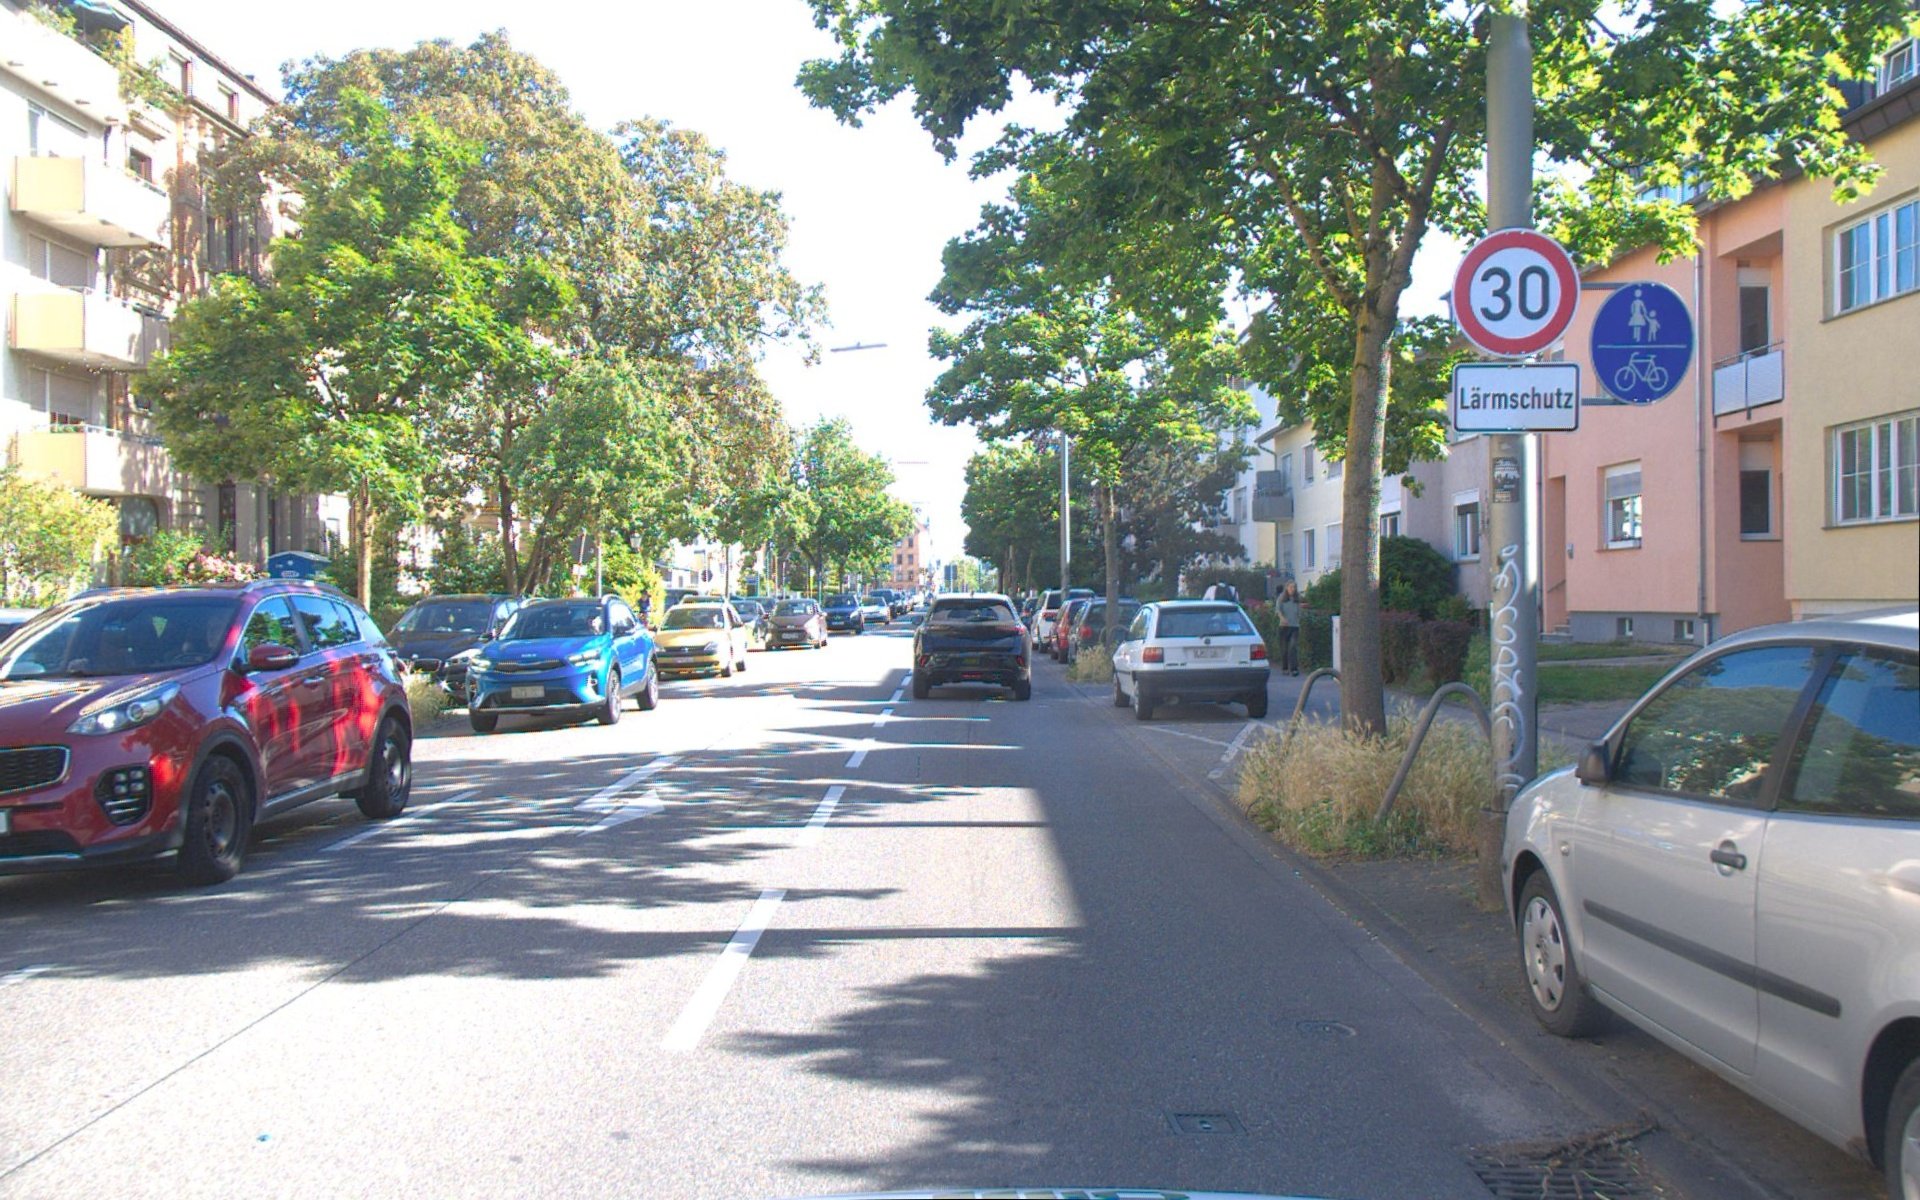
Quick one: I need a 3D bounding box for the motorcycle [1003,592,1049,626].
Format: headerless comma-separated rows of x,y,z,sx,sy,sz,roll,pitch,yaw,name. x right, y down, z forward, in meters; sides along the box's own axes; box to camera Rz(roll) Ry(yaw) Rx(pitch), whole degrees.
2.570,0.348,65.077,0.689,1.294,2.410,-2,0,-27,motorcycle

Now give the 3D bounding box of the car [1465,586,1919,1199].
2.811,0.710,4.724,1.535,1.482,3.865,-2,0,0,car

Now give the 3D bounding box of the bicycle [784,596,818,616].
-10.136,0.390,105.652,2.163,1.213,0.444,-1,0,-31,bicycle

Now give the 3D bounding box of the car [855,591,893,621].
-4.504,0.316,87.095,1.698,1.437,4.192,-3,0,0,car

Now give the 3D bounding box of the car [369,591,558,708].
-7.547,0.699,25.564,1.636,1.633,4.393,0,0,-1,car

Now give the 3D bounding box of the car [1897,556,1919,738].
9.650,0.256,12.617,3.906,1.466,1.831,-4,0,0,car

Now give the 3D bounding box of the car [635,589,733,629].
-11.827,0.387,70.963,3.857,1.673,1.667,0,1,-25,car

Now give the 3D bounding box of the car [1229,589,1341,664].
6.662,0.518,34.188,1.500,1.379,3.717,-3,0,0,car

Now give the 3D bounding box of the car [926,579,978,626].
-0.259,0.068,58.641,1.792,1.606,3.839,-1,0,0,car

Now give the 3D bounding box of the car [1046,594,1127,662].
2.879,0.602,38.210,1.501,1.475,3.717,-1,0,-1,car

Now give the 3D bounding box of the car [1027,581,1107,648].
2.861,0.376,44.857,1.733,1.688,4.340,-1,0,-2,car

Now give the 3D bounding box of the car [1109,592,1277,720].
2.895,0.645,21.261,1.615,1.427,3.970,-2,0,1,car

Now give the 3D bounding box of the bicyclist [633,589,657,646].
-9.867,0.538,51.825,0.596,1.785,0.691,-1,0,0,bicyclist

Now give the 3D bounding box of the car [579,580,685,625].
-14.409,0.101,72.662,4.261,1.912,1.864,0,1,-26,car

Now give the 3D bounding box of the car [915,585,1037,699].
0.223,0.598,25.333,1.710,1.601,3.557,1,0,0,car

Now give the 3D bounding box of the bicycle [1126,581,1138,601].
11.608,-0.624,111.931,0.579,1.310,1.689,-3,0,0,bicycle

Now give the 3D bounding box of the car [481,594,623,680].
-7.550,0.649,30.926,1.568,1.503,3.932,0,0,2,car

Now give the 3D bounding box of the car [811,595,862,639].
-5.083,0.675,68.621,1.799,1.642,4.400,-3,0,-1,car

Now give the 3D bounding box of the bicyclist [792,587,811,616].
-10.127,0.096,105.671,1.040,1.856,0.654,-1,0,-30,bicyclist

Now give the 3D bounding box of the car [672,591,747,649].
-7.404,0.571,49.263,1.591,1.616,4.347,1,0,-1,car

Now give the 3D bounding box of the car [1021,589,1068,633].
3.050,0.368,60.363,1.586,1.525,3.649,-1,0,1,car

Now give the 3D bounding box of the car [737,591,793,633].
-7.513,0.435,64.045,1.643,1.582,4.008,0,0,1,car

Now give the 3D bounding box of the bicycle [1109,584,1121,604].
10.535,-0.434,112.398,0.610,1.310,1.842,-3,0,0,bicycle

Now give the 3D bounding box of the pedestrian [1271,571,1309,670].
5.783,0.362,28.997,0.527,1.706,0.493,-1,0,0,pedestrian

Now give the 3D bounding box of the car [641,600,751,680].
-5.194,0.754,32.922,1.601,1.428,3.735,-2,0,-1,car

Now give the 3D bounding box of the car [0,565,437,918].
-4.760,0.683,10.012,1.686,1.645,4.300,-3,0,1,car

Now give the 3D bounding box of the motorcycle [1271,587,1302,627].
12.000,0.249,60.909,0.623,1.400,2.425,-1,0,0,motorcycle

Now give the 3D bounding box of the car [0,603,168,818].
-7.533,0.797,12.384,1.372,1.515,3.686,0,0,1,car

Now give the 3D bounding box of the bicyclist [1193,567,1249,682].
4.280,0.396,27.149,0.709,1.824,1.015,-2,0,0,bicyclist

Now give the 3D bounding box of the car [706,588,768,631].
-7.834,0.324,58.433,1.603,1.441,4.089,2,0,0,car

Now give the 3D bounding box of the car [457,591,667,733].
-4.942,0.707,21.083,1.622,1.543,4.076,-3,0,0,car

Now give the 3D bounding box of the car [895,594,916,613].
-5.116,0.348,156.160,1.770,1.676,4.672,-3,0,-1,car

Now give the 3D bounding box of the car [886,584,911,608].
-4.794,-0.284,130.017,1.779,1.773,4.492,-3,0,-1,car

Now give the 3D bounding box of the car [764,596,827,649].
-4.908,0.650,49.615,1.549,1.477,3.744,-2,0,-1,car

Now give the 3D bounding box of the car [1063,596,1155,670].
2.971,0.632,33.520,1.500,1.379,3.717,-1,0,0,car

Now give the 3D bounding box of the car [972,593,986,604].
2.937,-0.220,256.069,1.952,1.546,4.001,2,0,2,car

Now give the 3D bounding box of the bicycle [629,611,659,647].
-9.880,0.890,51.824,0.596,1.091,1.743,-1,0,0,bicycle

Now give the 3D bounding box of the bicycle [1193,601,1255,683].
4.294,0.656,26.968,0.683,1.268,1.822,-2,0,0,bicycle

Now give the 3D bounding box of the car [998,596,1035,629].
2.612,0.543,76.747,1.553,1.420,4.454,-2,0,1,car
